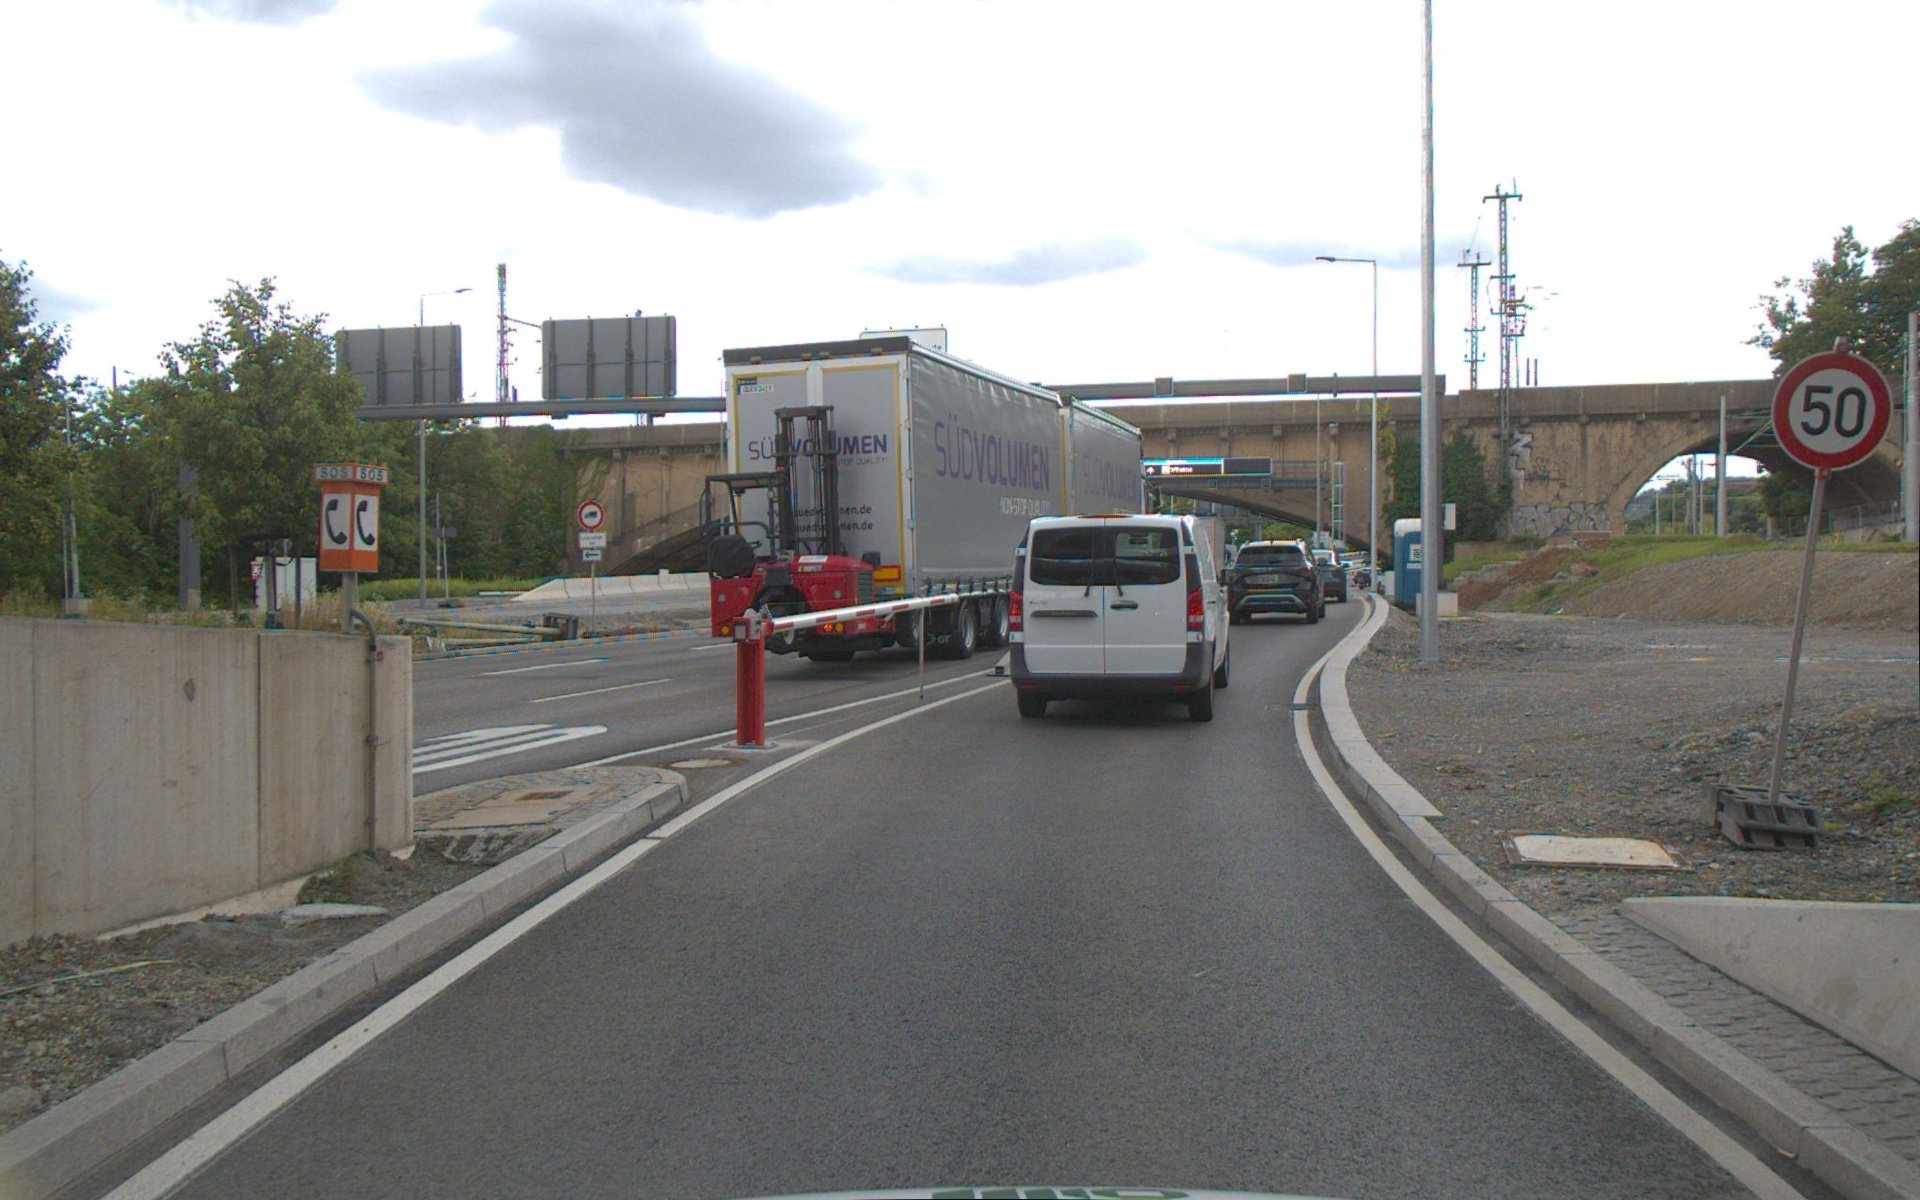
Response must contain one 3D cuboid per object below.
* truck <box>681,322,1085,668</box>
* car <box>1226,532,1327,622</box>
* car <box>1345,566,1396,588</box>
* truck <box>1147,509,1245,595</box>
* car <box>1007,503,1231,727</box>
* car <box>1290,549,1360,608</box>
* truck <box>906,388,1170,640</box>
[{"bbox_3d":[-0.609,-1.329,24.856,2.856,4.087,10.207,1,1,16],"label":"truck"},{"bbox_3d":[6.264,-0.449,32.495,1.712,1.653,3.848,-1,1,14],"label":"car"},{"bbox_3d":[36.838,-2.059,148.483,4.426,1.840,1.883,2,-1,-32],"label":"car"},{"bbox_3d":[12.243,-2.393,84.217,3.246,3.875,16.608,2,2,14],"label":"truck"},{"bbox_3d":[1.764,0.023,16.821,1.836,1.923,4.758,1,3,10],"label":"car"},{"bbox_3d":[10.057,-0.568,45.427,1.470,1.495,3.399,0,-2,20],"label":"car"},{"bbox_3d":[1.992,-1.547,33.798,2.924,4.249,11.249,1,1,15],"label":"truck"}]
